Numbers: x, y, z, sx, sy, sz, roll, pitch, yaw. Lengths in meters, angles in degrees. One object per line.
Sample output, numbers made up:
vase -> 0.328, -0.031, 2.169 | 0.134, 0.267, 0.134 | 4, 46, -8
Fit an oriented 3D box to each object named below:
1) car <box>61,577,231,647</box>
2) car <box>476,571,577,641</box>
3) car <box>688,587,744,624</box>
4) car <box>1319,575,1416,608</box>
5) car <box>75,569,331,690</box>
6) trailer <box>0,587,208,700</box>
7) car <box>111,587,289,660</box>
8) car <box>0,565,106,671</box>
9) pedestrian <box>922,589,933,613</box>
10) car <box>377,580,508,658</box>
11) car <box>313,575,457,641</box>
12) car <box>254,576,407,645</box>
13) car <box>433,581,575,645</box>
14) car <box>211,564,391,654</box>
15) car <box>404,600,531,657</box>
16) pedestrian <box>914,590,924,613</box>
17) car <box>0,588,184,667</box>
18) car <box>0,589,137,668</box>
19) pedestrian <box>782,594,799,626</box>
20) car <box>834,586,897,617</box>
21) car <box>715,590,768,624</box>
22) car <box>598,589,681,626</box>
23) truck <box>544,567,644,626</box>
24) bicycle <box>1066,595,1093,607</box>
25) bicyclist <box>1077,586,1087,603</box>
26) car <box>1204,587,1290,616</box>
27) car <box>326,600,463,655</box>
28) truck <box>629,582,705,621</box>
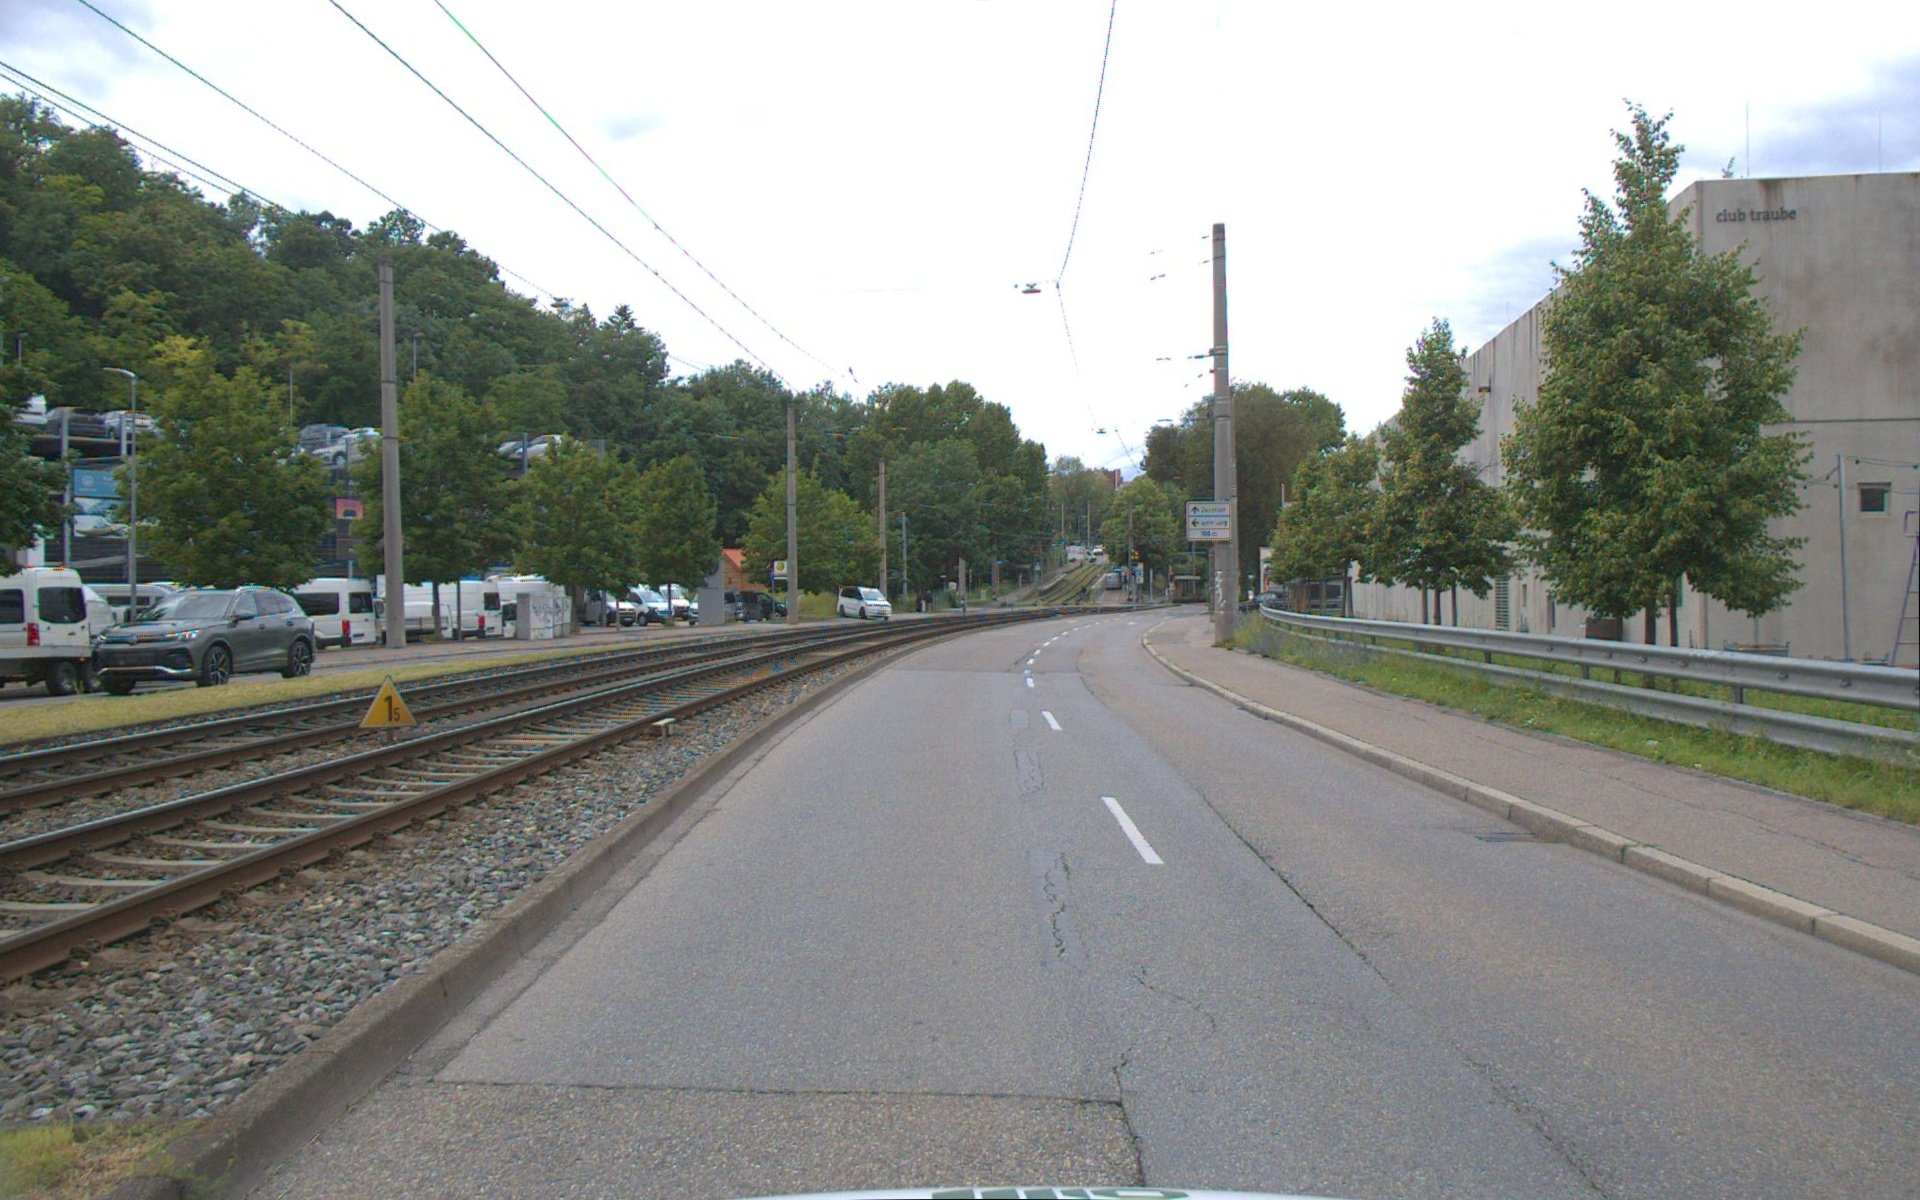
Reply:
car -> -32.255, 0.452, 65.748 | 5.847, 2.647, 1.992 | -1, 0, -21
car -> -19.786, 0.247, 75.802 | 2.062, 3.072, 5.942 | -1, 0, 11
car -> -14.183, 0.296, 96.290 | 1.951, 2.049, 4.923 | -1, 0, 7
car -> 21.195, -0.431, 86.127 | 4.428, 1.575, 2.154 | -1, -2, -13
car -> -12.464, 0.480, 27.608 | 1.952, 1.770, 4.535 | -3, -1, 3
trailer -> -15.533, 0.707, 27.333 | 2.332, 1.728, 6.953 | -2, 0, 7
car -> -22.150, 0.675, 48.306 | 4.273, 2.045, 2.005 | 0, 0, 5
car -> -22.440, 0.416, 38.222 | 4.400, 2.352, 2.127 | 0, 0, 10
pedestrian -> -2.510, 0.067, 129.340 | 0.662, 1.844, 0.856 | 1, 0, 12
car -> -19.546, 0.710, 62.553 | 4.273, 2.868, 2.005 | 0, 0, 5
car -> -19.941, 0.278, 57.458 | 4.273, 2.211, 2.005 | 0, 0, 5
car -> -20.910, 0.346, 55.053 | 4.273, 2.211, 2.005 | 0, 0, 5
car -> -19.410, 0.549, 70.491 | 5.356, 2.647, 2.248 | 0, 0, 9
car -> -20.831, 0.273, 52.398 | 4.861, 2.746, 2.116 | 0, 0, 5
car -> -19.209, 1.089, 64.621 | 4.273, 2.142, 2.005 | 0, 0, 5
pedestrian -> -3.211, 0.118, 129.450 | 0.614, 1.743, 0.856 | 1, 0, 12
car -> -22.779, 0.698, 43.034 | 4.272, 1.981, 2.006 | 0, 0, 10
car -> -22.915, 0.686, 40.854 | 4.272, 1.877, 2.006 | 0, 0, 10
pedestrian -> -9.204, 0.546, 89.899 | 0.703, 1.684, 1.043 | 2, 1, 2
car -> -6.215, 0.080, 107.947 | 2.135, 1.921, 5.025 | 2, 0, -29
car -> -13.448, 0.395, 102.005 | 1.951, 2.049, 5.134 | -1, 0, 7
car -> -17.945, 0.425, 92.509 | 4.637, 2.049, 1.992 | -1, 0, 37
truck -> -20.006, -0.162, 90.253 | 5.825, 3.139, 2.110 | -1, 0, 39
bicycle -> 13.567, 0.111, 187.633 | 2.931, 1.367, 0.825 | -1, 0, -8
bicyclist -> 13.831, -0.590, 187.676 | 1.028, 1.881, 0.822 | -1, 0, -8
car -> 15.239, 0.062, 87.893 | 4.153, 1.468, 1.755 | 1, 1, 39
car -> -20.615, 0.992, 60.375 | 4.273, 1.944, 2.005 | 0, 0, 5
truck -> -20.628, 0.109, 116.307 | 4.968, 2.633, 2.461 | -1, 0, 34
